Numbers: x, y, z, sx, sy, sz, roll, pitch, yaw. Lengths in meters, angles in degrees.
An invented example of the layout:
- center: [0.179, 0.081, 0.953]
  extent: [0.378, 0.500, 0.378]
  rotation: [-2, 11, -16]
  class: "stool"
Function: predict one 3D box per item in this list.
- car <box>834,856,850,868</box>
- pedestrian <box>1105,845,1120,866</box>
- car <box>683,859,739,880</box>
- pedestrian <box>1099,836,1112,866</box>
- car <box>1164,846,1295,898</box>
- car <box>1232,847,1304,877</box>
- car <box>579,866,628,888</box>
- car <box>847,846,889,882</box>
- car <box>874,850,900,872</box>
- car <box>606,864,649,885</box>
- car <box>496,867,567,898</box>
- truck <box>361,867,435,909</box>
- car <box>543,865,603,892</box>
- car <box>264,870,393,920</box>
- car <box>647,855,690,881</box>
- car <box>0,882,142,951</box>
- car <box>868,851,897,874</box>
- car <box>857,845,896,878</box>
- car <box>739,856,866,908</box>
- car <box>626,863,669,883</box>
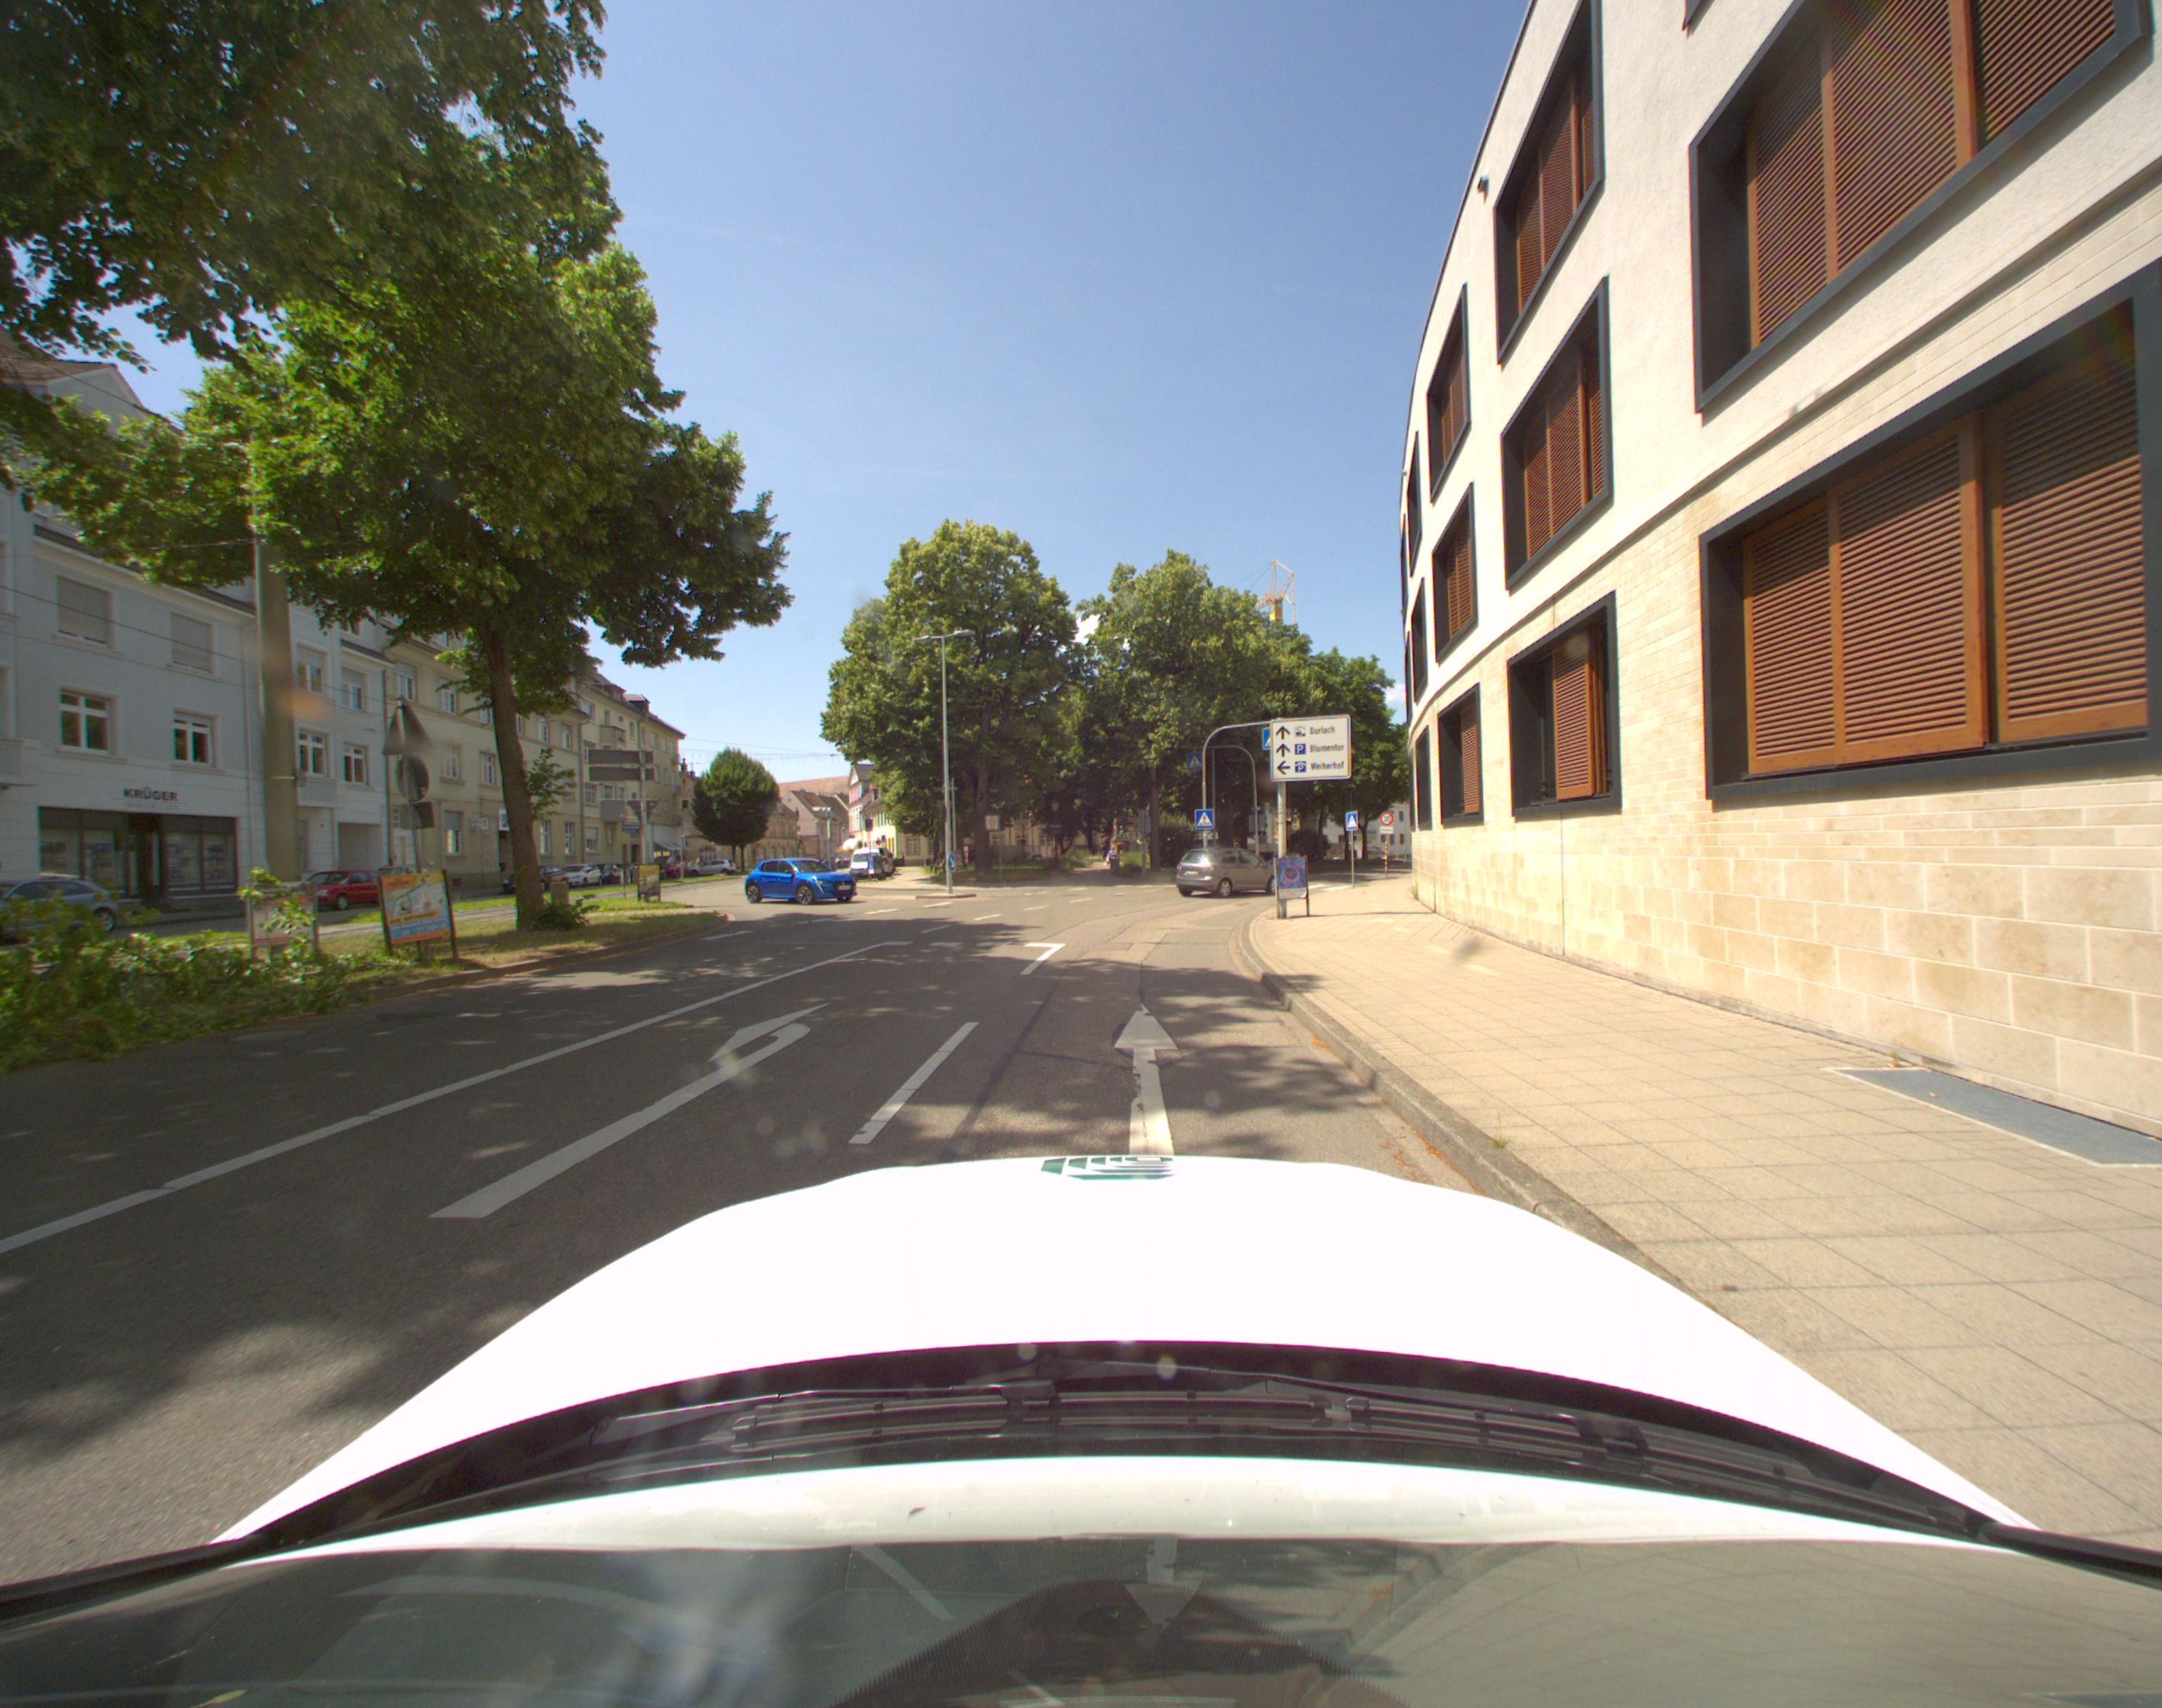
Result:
- center: [-31.457, 0.987, 107.266]
  extent: [1.866, 1.486, 3.975]
  rotation: [-2, 0, -18]
  class: "car"
- center: [2.023, 0.091, 52.066]
  extent: [0.902, 1.252, 1.149]
  rotation: [-1, 2, 3]
  class: "pedestrian"
- center: [-33.215, 1.386, 73.179]
  extent: [4.212, 1.504, 1.993]
  rotation: [-4, 1, -16]
  class: "car"
- center: [1.600, -0.202, 52.921]
  extent: [0.744, 1.910, 0.685]
  rotation: [-1, 2, 3]
  class: "pedestrian"
- center: [4.957, 0.540, 26.916]
  extent: [4.264, 1.534, 1.888]
  rotation: [-1, 0, -39]
  class: "car"
- center: [10.190, 0.392, 44.077]
  extent: [1.721, 1.488, 4.434]
  rotation: [-1, 0, 44]
  class: "car"
- center: [-31.225, 1.480, 53.349]
  extent: [1.688, 1.277, 3.275]
  rotation: [-4, 1, -12]
  class: "car"
- center: [-11.569, 0.507, 44.465]
  extent: [1.995, 1.826, 4.404]
  rotation: [-2, 0, -12]
  class: "car"
- center: [-15.930, 0.517, 67.027]
  extent: [1.783, 1.693, 4.185]
  rotation: [-2, 0, -10]
  class: "car"
- center: [-32.145, 1.443, 57.866]
  extent: [1.603, 1.277, 3.572]
  rotation: [-4, 1, -12]
  class: "car"
- center: [-29.023, 1.486, 43.150]
  extent: [1.687, 1.360, 3.842]
  rotation: [-4, 1, -12]
  class: "car"
- center: [-27.141, 1.323, 32.447]
  extent: [1.127, 1.494, 2.583]
  rotation: [-4, 1, -13]
  class: "truck"
- center: [-30.243, 1.425, 48.601]
  extent: [1.687, 1.390, 3.842]
  rotation: [-4, 1, -12]
  class: "car"
- center: [-26.039, 1.374, 28.362]
  extent: [1.572, 1.451, 3.611]
  rotation: [-4, 1, -12]
  class: "car"
- center: [-33.936, 1.081, 67.093]
  extent: [1.855, 1.911, 4.752]
  rotation: [-4, 1, -12]
  class: "car"
- center: [-23.885, 1.429, 18.020]
  extent: [1.809, 1.356, 4.233]
  rotation: [-4, 1, -12]
  class: "car"
- center: [-14.592, 0.593, 60.109]
  extent: [1.783, 1.624, 4.470]
  rotation: [-2, 0, -10]
  class: "car"
- center: [-13.229, 0.464, 52.936]
  extent: [2.050, 2.002, 5.230]
  rotation: [-2, 0, -10]
  class: "car"
- center: [-8.954, 0.845, 26.091]
  extent: [3.948, 1.492, 1.827]
  rotation: [-1, 1, 35]
  class: "car"
- center: [-33.020, 1.410, 62.129]
  extent: [1.643, 1.277, 4.247]
  rotation: [-4, 1, -12]
  class: "car"
